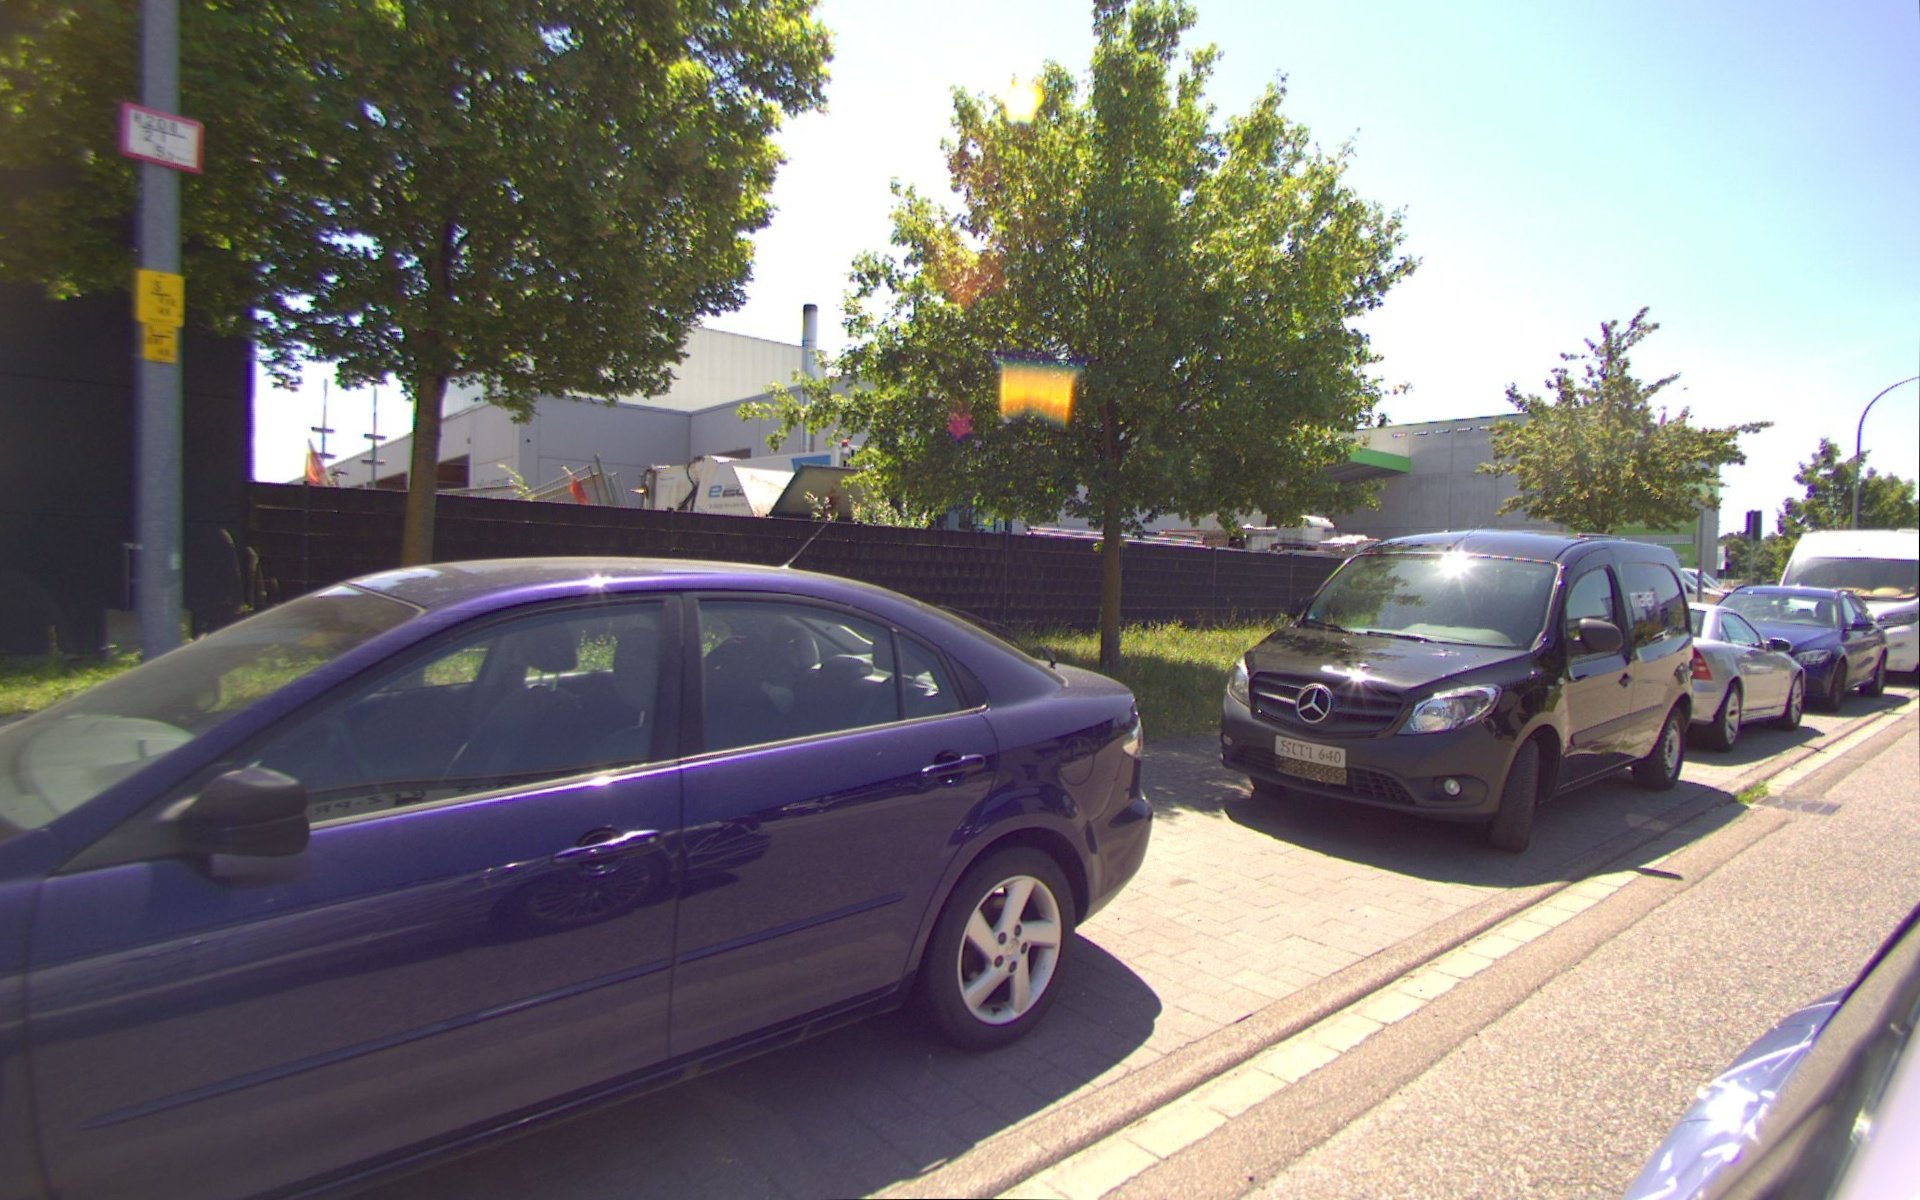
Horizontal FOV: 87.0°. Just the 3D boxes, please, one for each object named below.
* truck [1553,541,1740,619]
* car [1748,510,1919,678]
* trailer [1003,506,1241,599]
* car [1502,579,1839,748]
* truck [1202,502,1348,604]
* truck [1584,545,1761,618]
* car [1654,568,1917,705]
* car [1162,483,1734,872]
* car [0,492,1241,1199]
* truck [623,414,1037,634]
[{"bbox_3d":[27.945,-0.890,41.389,2.372,2.948,5.833,0,3,-41],"label":"truck"},{"bbox_3d":[16.192,-0.160,17.814,6.041,2.527,2.274,0,3,-39],"label":"car"},{"bbox_3d":[7.315,-2.299,48.719,2.754,3.922,12.648,-1,3,-39],"label":"trailer"},{"bbox_3d":[7.275,0.483,10.223,4.041,1.303,1.716,-1,3,-39],"label":"car"},{"bbox_3d":[12.951,-1.951,41.898,2.754,3.922,5.074,-1,3,-40],"label":"truck"},{"bbox_3d":[31.042,-0.877,44.270,2.268,2.907,5.911,0,3,-43],"label":"truck"},{"bbox_3d":[11.198,0.391,13.624,4.397,1.512,1.834,0,3,-39],"label":"car"},{"bbox_3d":[3.535,0.296,6.965,4.278,1.847,1.997,-1,3,-41],"label":"car"},{"bbox_3d":[-1.350,0.505,2.855,4.630,1.448,1.854,-1,3,-41],"label":"car"},{"bbox_3d":[-3.277,-1.611,22.170,9.966,3.869,2.994,4,3,40],"label":"truck"}]
